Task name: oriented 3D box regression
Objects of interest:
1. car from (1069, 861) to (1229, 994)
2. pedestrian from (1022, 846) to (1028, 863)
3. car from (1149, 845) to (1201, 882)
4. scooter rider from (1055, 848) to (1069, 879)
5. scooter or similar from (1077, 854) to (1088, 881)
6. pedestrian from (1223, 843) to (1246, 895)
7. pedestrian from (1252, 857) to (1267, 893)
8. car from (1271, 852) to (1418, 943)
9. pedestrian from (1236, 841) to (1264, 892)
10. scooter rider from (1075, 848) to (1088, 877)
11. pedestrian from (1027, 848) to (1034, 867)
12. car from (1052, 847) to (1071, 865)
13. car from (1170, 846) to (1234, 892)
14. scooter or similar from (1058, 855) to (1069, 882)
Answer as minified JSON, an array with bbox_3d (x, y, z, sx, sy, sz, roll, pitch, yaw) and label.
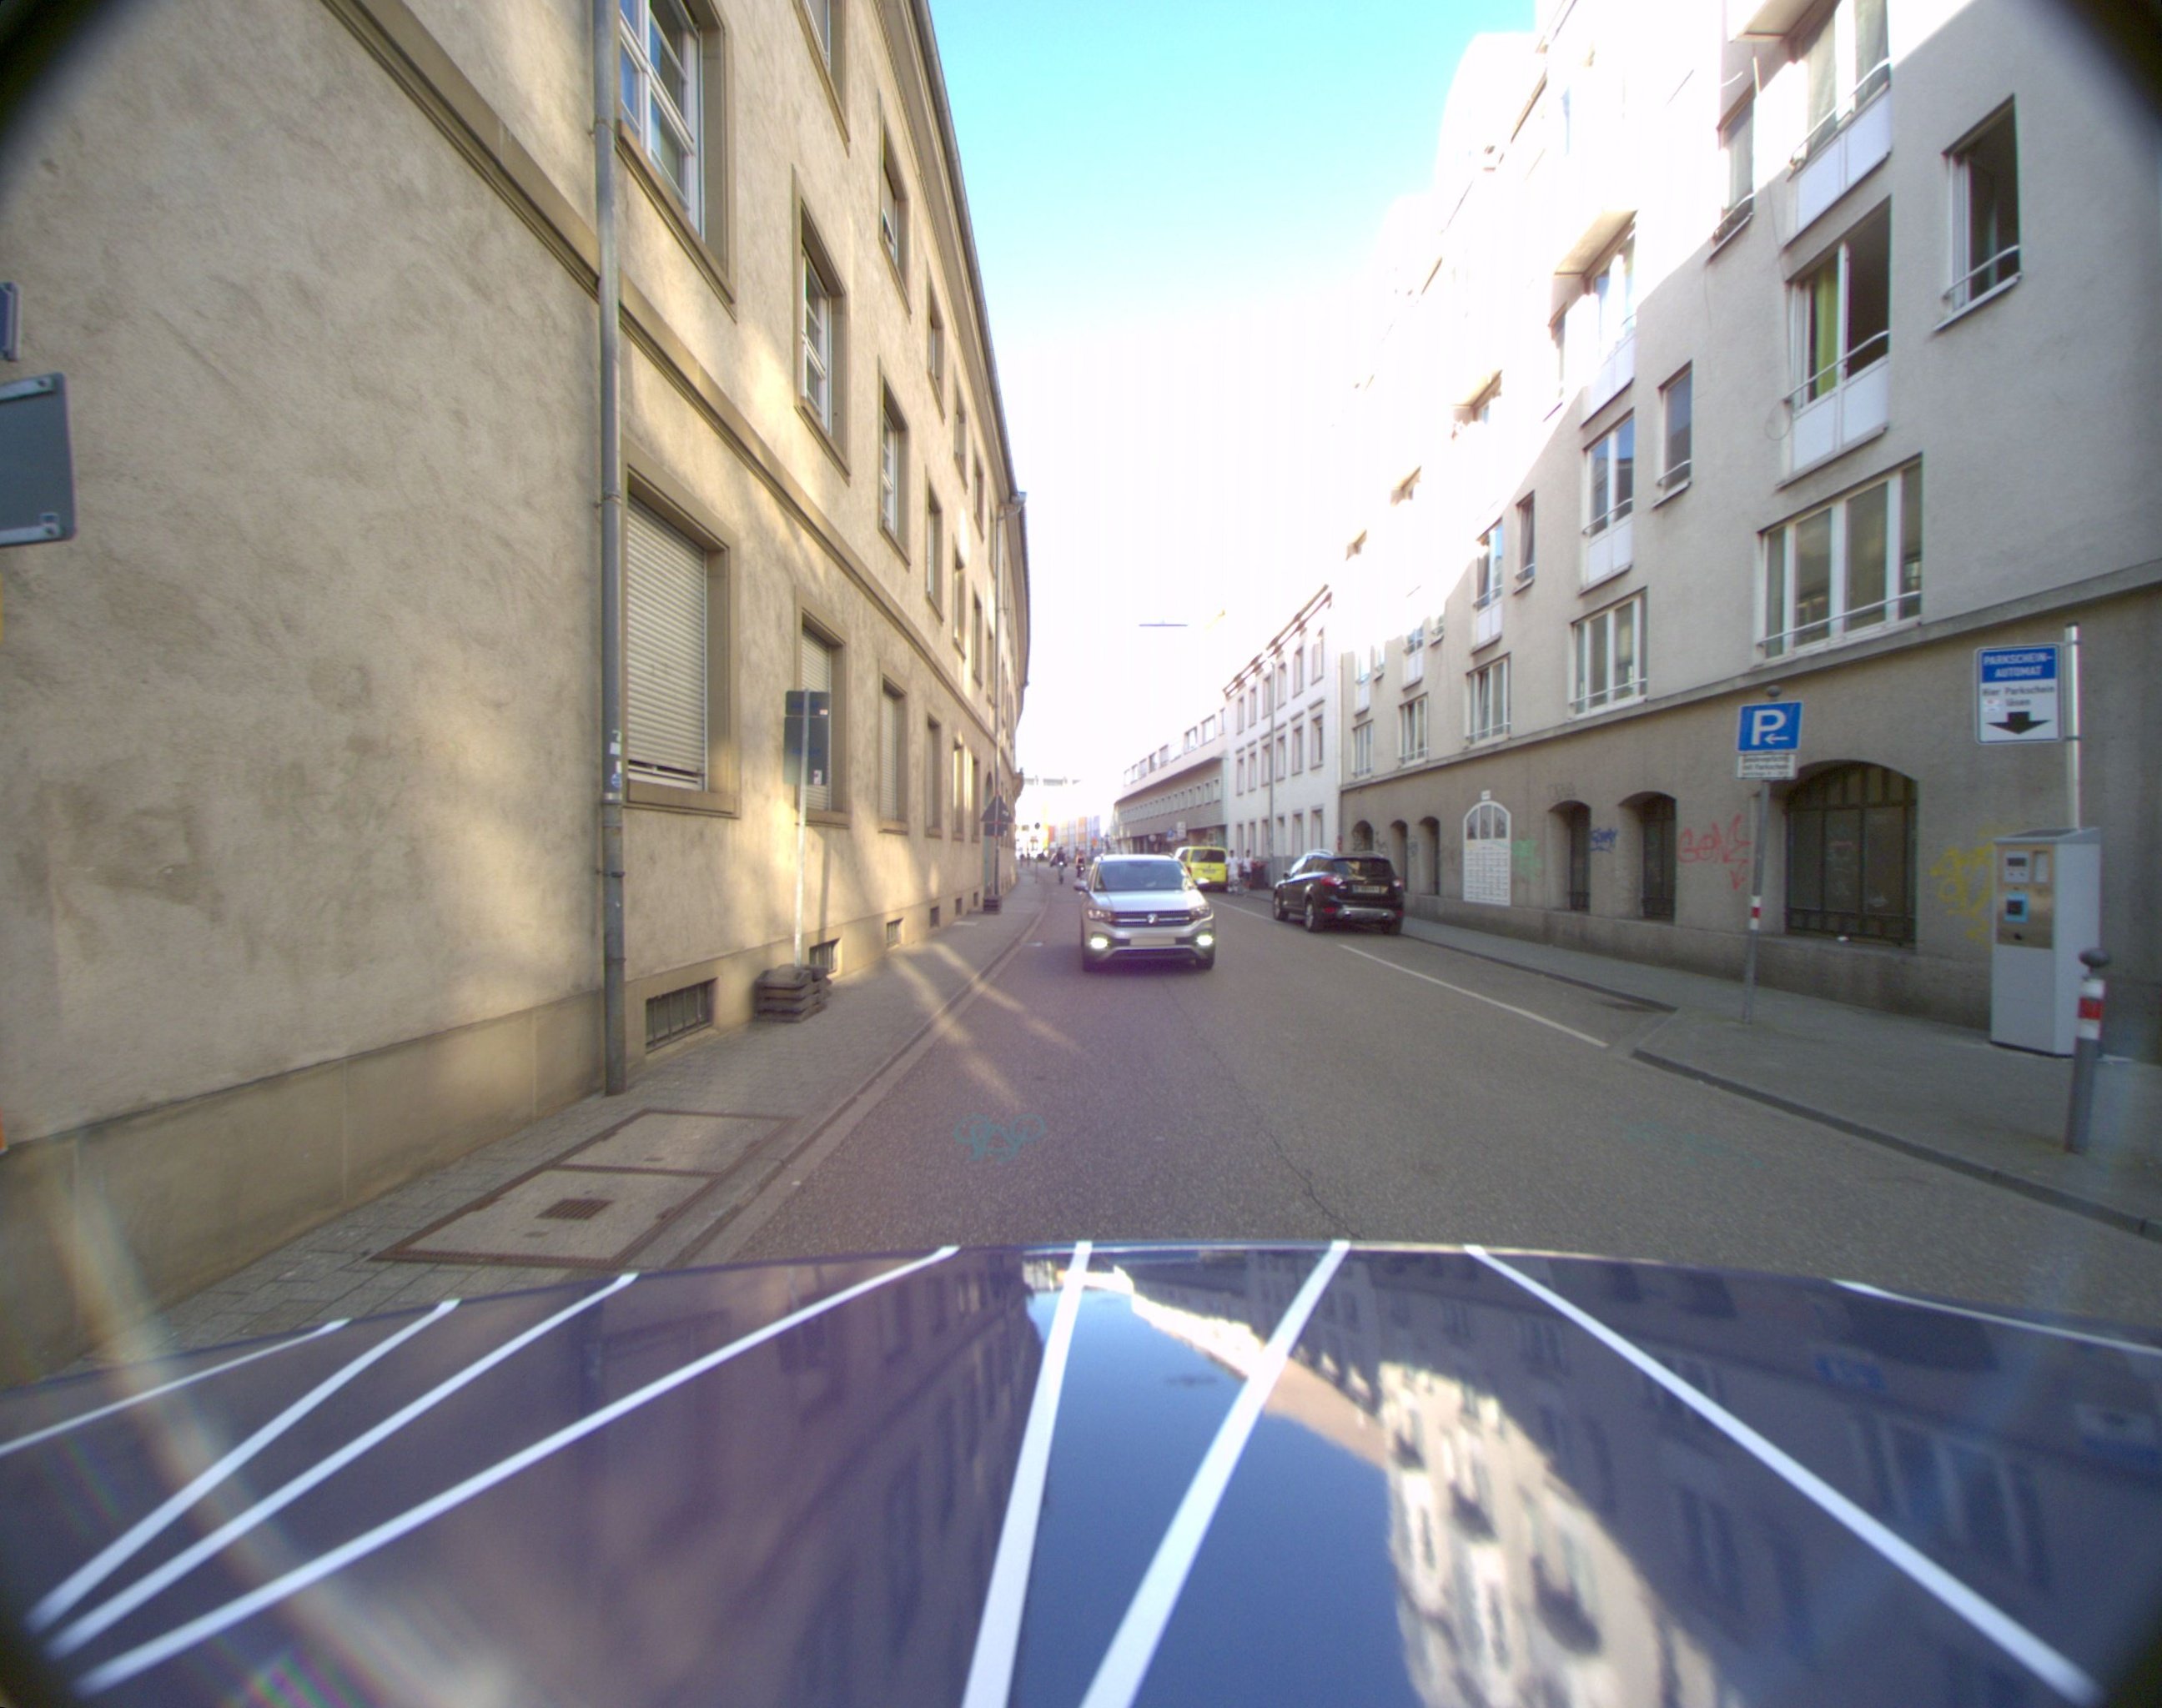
[{"bbox_3d":[0.798,0.897,11.155,1.763,1.537,3.998,0,0,-3],"label":"car"},{"bbox_3d":[-6.629,0.105,90.245,0.715,2.002,0.699,0,1,-1],"label":"pedestrian"},{"bbox_3d":[4.776,0.451,39.057,1.889,1.758,3.998,2,0,-3],"label":"car"},{"bbox_3d":[-1.000,0.478,39.860,0.647,1.584,0.600,-2,1,0],"label":"scooter rider"},{"bbox_3d":[0.063,0.714,39.994,0.550,1.388,1.555,0,1,0],"label":"scooter or similar"},{"bbox_3d":[5.950,0.579,29.477,0.715,2.002,0.699,0,1,-1],"label":"pedestrian"},{"bbox_3d":[7.310,0.859,31.094,0.556,1.439,0.583,0,1,10],"label":"pedestrian"},{"bbox_3d":[5.570,0.835,16.602,1.888,1.694,4.000,2,0,2],"label":"car"},{"bbox_3d":[6.732,0.499,30.278,0.937,2.002,0.699,0,1,-1],"label":"pedestrian"},{"bbox_3d":[0.033,0.426,40.013,0.591,1.499,0.600,-2,1,0],"label":"scooter rider"},{"bbox_3d":[-5.327,0.383,80.472,0.715,2.002,0.699,0,1,-1],"label":"pedestrian"},{"bbox_3d":[-2.135,0.196,83.549,1.889,1.863,3.998,2,0,-3],"label":"car"},{"bbox_3d":[5.179,0.600,33.090,1.889,1.863,3.998,2,0,-3],"label":"car"},{"bbox_3d":[-0.929,0.770,39.935,0.523,1.388,1.555,0,1,0],"label":"scooter or similar"}]
